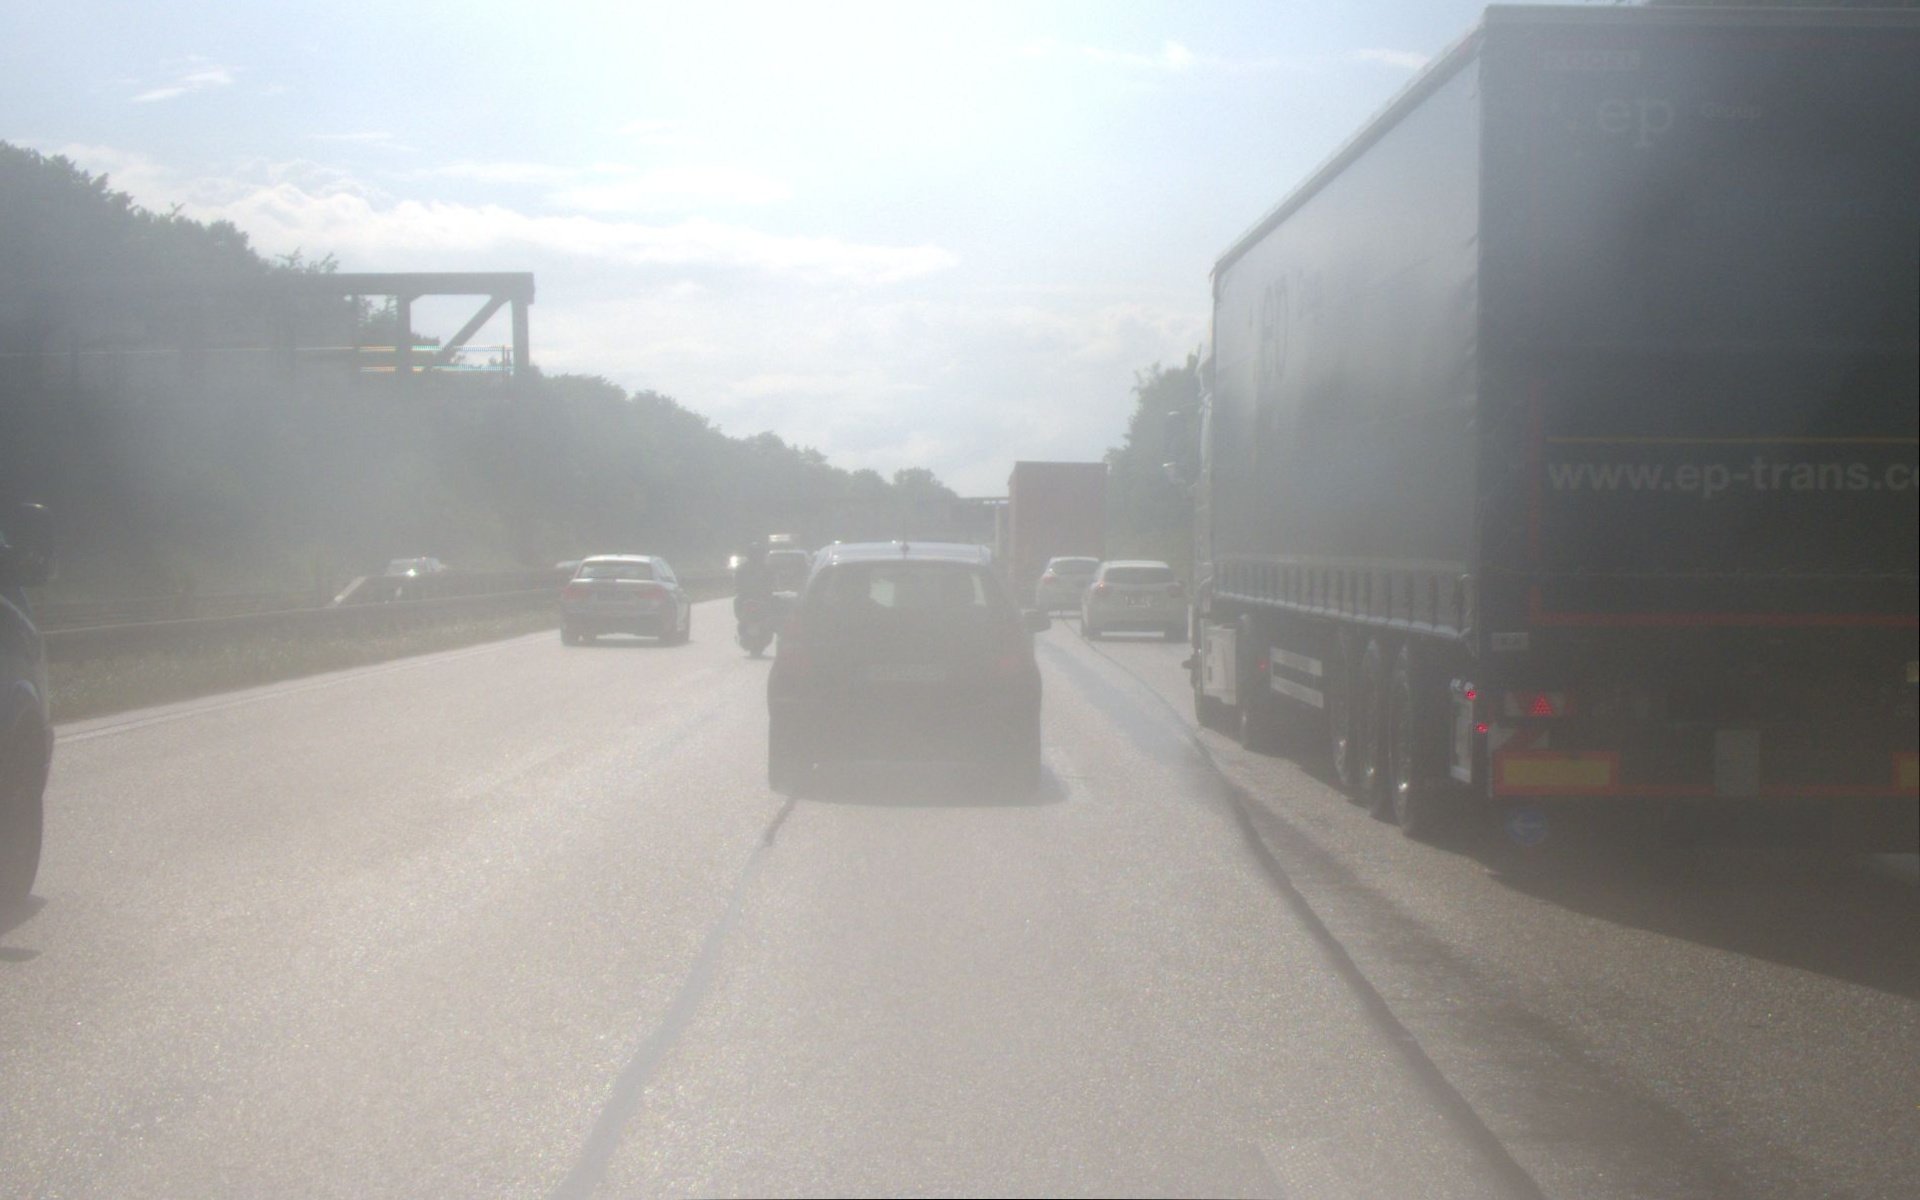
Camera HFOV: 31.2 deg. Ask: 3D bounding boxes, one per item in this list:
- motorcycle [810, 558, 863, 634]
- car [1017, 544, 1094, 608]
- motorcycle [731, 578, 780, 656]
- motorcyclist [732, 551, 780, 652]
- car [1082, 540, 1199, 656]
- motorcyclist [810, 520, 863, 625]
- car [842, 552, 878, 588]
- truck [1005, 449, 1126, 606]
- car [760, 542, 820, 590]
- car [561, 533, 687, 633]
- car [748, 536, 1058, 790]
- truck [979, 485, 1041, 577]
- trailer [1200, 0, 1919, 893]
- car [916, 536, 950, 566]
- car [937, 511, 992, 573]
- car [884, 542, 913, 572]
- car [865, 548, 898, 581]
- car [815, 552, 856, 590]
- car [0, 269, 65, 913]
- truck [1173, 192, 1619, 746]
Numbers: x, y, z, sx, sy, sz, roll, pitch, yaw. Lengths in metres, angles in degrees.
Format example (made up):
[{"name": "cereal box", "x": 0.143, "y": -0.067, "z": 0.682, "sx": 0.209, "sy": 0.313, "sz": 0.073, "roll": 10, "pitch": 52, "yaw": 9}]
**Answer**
[{"name": "motorcycle", "x": -2.118, "y": -0.086, "z": 58.693, "sx": 0.819, "sy": 1.258, "sz": 2.118, "roll": 1, "pitch": 1, "yaw": -4}, {"name": "car", "x": 2.288, "y": -0.589, "z": 82.909, "sx": 1.675, "sy": 1.485, "sz": 3.437, "roll": 0, "pitch": 1, "yaw": -1}, {"name": "motorcycle", "x": -2.959, "y": 0.237, "z": 49.734, "sx": 0.676, "sy": 1.083, "sz": 1.982, "roll": 1, "pitch": 1, "yaw": -4}, {"name": "motorcyclist", "x": -2.955, "y": 0.016, "z": 49.730, "sx": 0.670, "sy": 1.437, "sz": 1.020, "roll": 1, "pitch": 0, "yaw": -4}, {"name": "car", "x": 3.227, "y": -0.058, "z": 62.193, "sx": 1.849, "sy": 2.007, "sz": 4.087, "roll": 1, "pitch": 0, "yaw": 0}, {"name": "motorcyclist", "x": -2.112, "y": -0.465, "z": 58.649, "sx": 0.821, "sy": 1.755, "sz": 1.390, "roll": 1, "pitch": 0, "yaw": -4}, {"name": "car", "x": -5.707, "y": -1.692, "z": 196.195, "sx": 1.993, "sy": 2.007, "sz": 4.000, "roll": 1, "pitch": 0, "yaw": -1}, {"name": "truck", "x": 3.023, "y": -2.109, "z": 101.504, "sx": 3.202, "sy": 4.389, "sz": 9.432, "roll": 0, "pitch": 1, "yaw": 0}, {"name": "car", "x": -5.822, "y": -1.173, "z": 118.109, "sx": 1.893, "sy": 1.622, "sz": 4.195, "roll": 0, "pitch": 1, "yaw": -1}, {"name": "car", "x": -5.545, "y": -0.295, "z": 57.144, "sx": 1.758, "sy": 1.589, "sz": 4.331, "roll": 0, "pitch": 1, "yaw": -1}, {"name": "car", "x": -0.395, "y": 0.360, "z": 23.456, "sx": 1.915, "sy": 1.560, "sz": 4.314, "roll": 0, "pitch": 1, "yaw": -1}, {"name": "truck", "x": 2.589, "y": -3.582, "z": 181.472, "sx": 2.882, "sy": 4.671, "sz": 12.659, "roll": 1, "pitch": 0, "yaw": -1}, {"name": "trailer", "x": 3.657, "y": -0.947, "z": 22.343, "sx": 3.088, "sy": 4.298, "sz": 14.106, "roll": 0, "pitch": 1, "yaw": 0}, {"name": "car", "x": -1.323, "y": -2.400, "z": 168.677, "sx": 1.631, "sy": 1.485, "sz": 3.437, "roll": 0, "pitch": 1, "yaw": -1}, {"name": "car", "x": 0.129, "y": -1.844, "z": 109.082, "sx": 1.675, "sy": 1.929, "sz": 3.773, "roll": 0, "pitch": 1, "yaw": -1}, {"name": "car", "x": -4.230, "y": -2.940, "z": 237.064, "sx": 1.993, "sy": 2.007, "sz": 4.000, "roll": 1, "pitch": 0, "yaw": -1}, {"name": "car", "x": -4.847, "y": -2.189, "z": 212.108, "sx": 1.993, "sy": 2.007, "sz": 4.000, "roll": 1, "pitch": 0, "yaw": -1}, {"name": "car", "x": -5.364, "y": -1.259, "z": 148.434, "sx": 1.675, "sy": 1.591, "sz": 3.437, "roll": 0, "pitch": 1, "yaw": -1}, {"name": "car", "x": -4.911, "y": -0.015, "z": 12.281, "sx": 2.015, "sy": 2.639, "sz": 5.777, "roll": 0, "pitch": 1, "yaw": -1}, {"name": "truck", "x": 3.600, "y": -1.052, "z": 29.912, "sx": 3.052, "sy": 4.310, "sz": 5.886, "roll": 1, "pitch": 0, "yaw": 0}]
